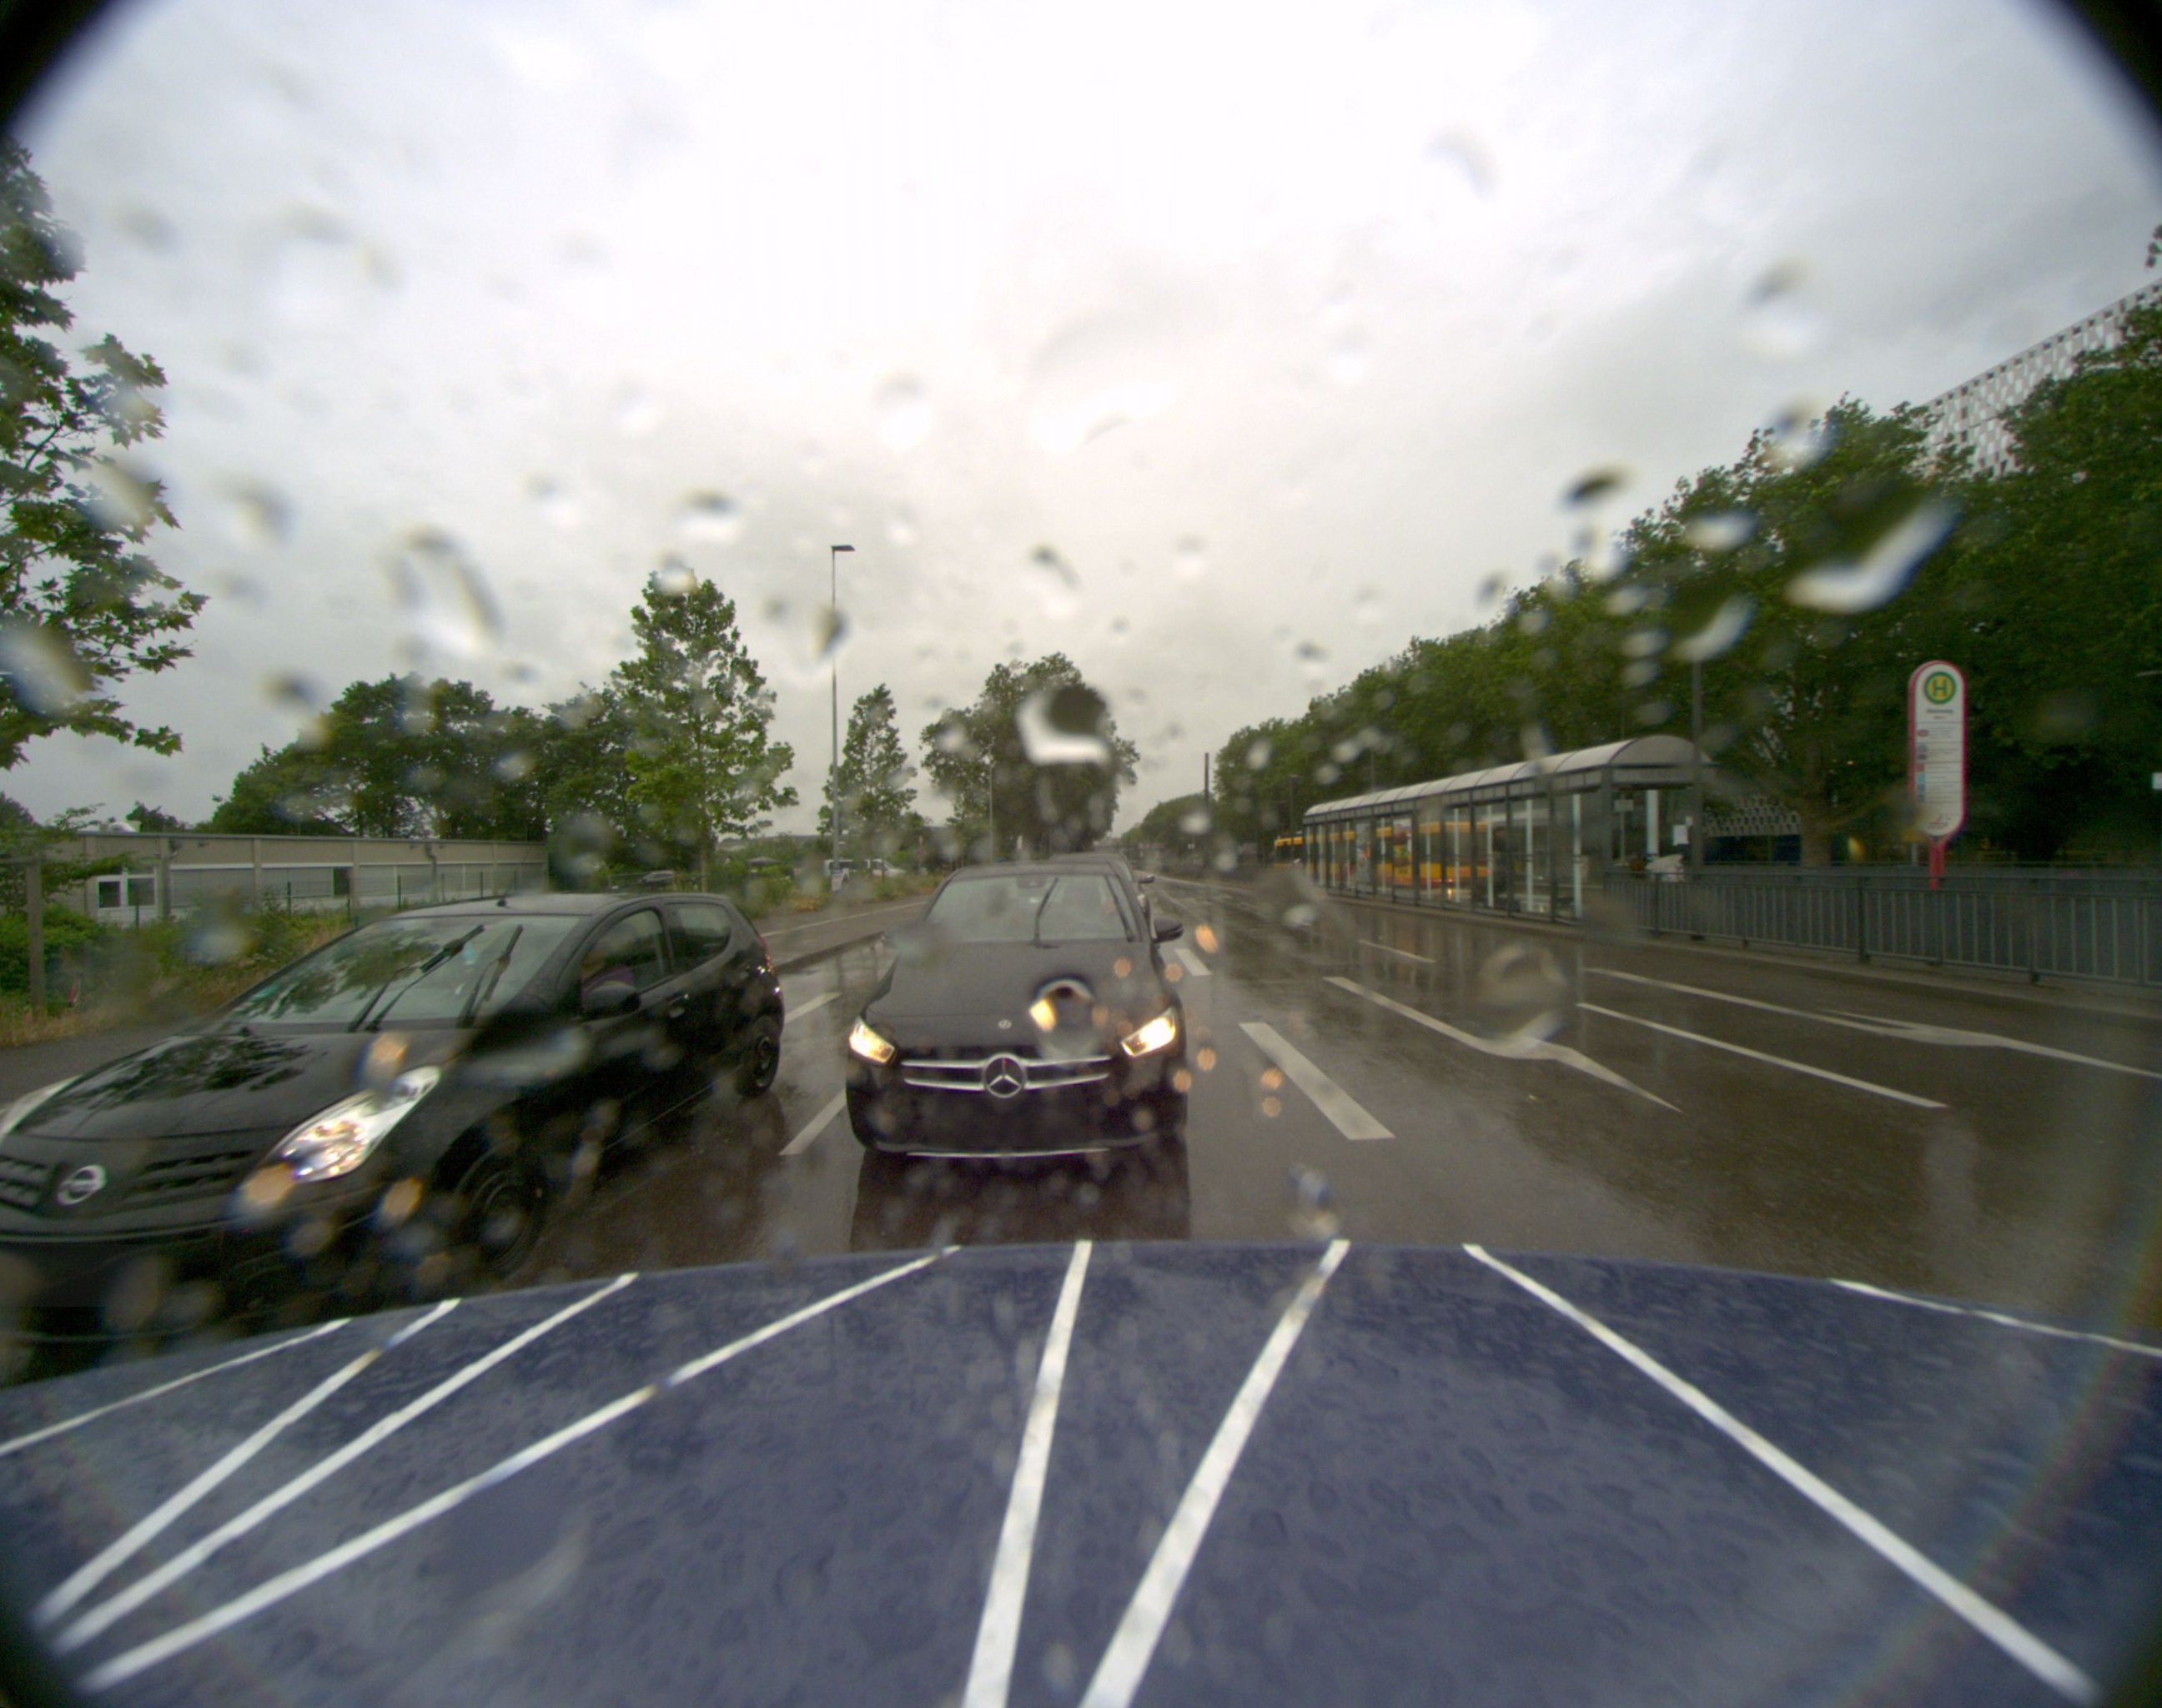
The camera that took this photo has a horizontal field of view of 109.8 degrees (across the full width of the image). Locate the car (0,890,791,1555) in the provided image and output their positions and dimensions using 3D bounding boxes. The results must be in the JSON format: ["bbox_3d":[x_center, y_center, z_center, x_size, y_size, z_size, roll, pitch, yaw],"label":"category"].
[{"bbox_3d":[-2.936,1.032,3.724,1.557,1.500,3.618,-2,0,1],"label":"car"}]

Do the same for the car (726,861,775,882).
[{"bbox_3d":[-28.229,1.501,65.011,3.552,1.574,1.345,-3,1,6],"label":"car"}]

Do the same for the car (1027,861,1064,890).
[{"bbox_3d":[-1.758,1.053,38.939,1.617,1.301,3.717,-3,0,1],"label":"car"}]

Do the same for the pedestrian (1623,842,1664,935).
[{"bbox_3d":[9.185,0.548,12.417,0.321,1.485,0.415,-3,2,6],"label":"pedestrian"}]

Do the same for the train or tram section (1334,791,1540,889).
[{"bbox_3d":[16.621,-0.618,37.391,3.751,3.817,13.253,-3,0,0],"label":"train or tram section"}]

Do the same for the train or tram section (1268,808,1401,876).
[{"bbox_3d":[16.603,-0.730,51.799,3.751,3.777,15.569,-3,0,0],"label":"train or tram section"}]

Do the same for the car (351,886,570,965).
[{"bbox_3d":[-12.023,1.372,14.816,3.243,1.281,1.345,-3,1,6],"label":"car"}]

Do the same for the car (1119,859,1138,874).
[{"bbox_3d":[4.475,1.152,72.292,1.557,1.301,3.717,-3,0,1],"label":"car"}]

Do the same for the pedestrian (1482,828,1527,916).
[{"bbox_3d":[9.301,0.386,16.692,0.655,1.860,0.773,-2,1,17],"label":"pedestrian"}]

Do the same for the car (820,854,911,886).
[{"bbox_3d":[-13.602,0.987,48.184,5.174,1.715,2.006,-3,1,-1],"label":"car"}]

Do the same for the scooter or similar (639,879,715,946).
[{"bbox_3d":[-8.185,1.151,15.476,0.367,1.192,1.913,-2,1,4],"label":"scooter or similar"}]

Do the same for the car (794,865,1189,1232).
[{"bbox_3d":[-0.199,0.915,5.499,1.758,1.572,4.171,-2,0,6],"label":"car"}]

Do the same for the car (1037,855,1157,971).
[{"bbox_3d":[0.284,0.841,12.721,1.689,1.611,4.000,-1,0,2],"label":"car"}]

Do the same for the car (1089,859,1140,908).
[{"bbox_3d":[1.130,0.991,27.111,1.557,1.541,3.717,-3,0,0],"label":"car"}]
